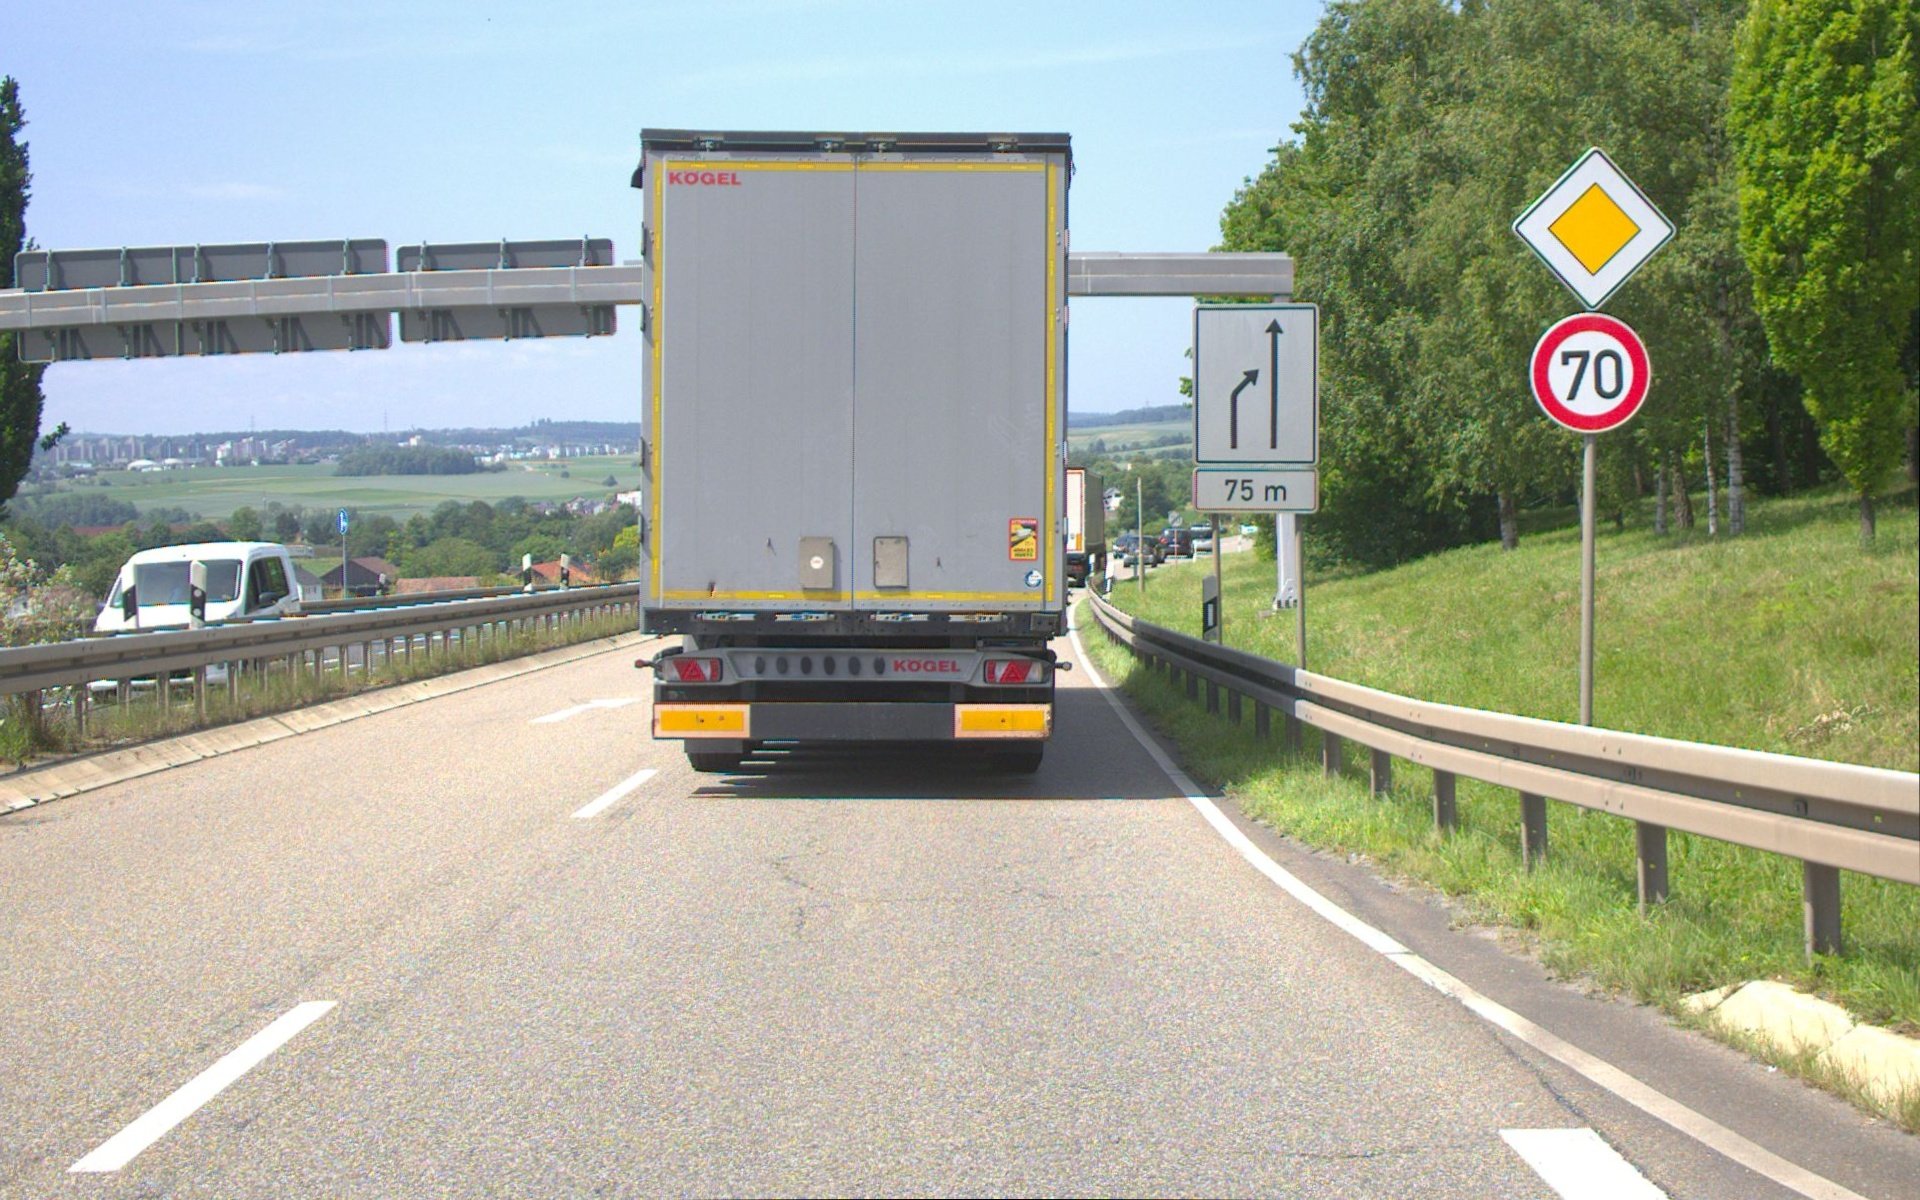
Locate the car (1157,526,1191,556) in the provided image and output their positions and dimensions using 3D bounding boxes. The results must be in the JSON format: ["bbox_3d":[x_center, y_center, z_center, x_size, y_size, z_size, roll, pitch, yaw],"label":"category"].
[{"bbox_3d":[12.514,-3.461,200.891,1.786,1.682,4.000,0,0,1],"label":"car"}]

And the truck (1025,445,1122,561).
[{"bbox_3d":[3.990,-3.251,118.842,2.656,3.752,10.159,0,0,6],"label":"truck"}]

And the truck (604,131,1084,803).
[{"bbox_3d":[-0.667,-0.875,25.762,2.799,3.916,11.342,0,1,0],"label":"truck"}]

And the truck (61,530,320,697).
[{"bbox_3d":[-8.913,0.143,40.195,1.849,1.743,4.537,-3,0,1],"label":"truck"}]

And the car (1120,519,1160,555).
[{"bbox_3d":[8.682,-3.033,165.990,1.786,1.682,4.000,0,0,1],"label":"car"}]

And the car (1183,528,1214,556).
[{"bbox_3d":[15.273,-3.711,220.190,1.786,1.682,4.000,0,0,1],"label":"car"}]
